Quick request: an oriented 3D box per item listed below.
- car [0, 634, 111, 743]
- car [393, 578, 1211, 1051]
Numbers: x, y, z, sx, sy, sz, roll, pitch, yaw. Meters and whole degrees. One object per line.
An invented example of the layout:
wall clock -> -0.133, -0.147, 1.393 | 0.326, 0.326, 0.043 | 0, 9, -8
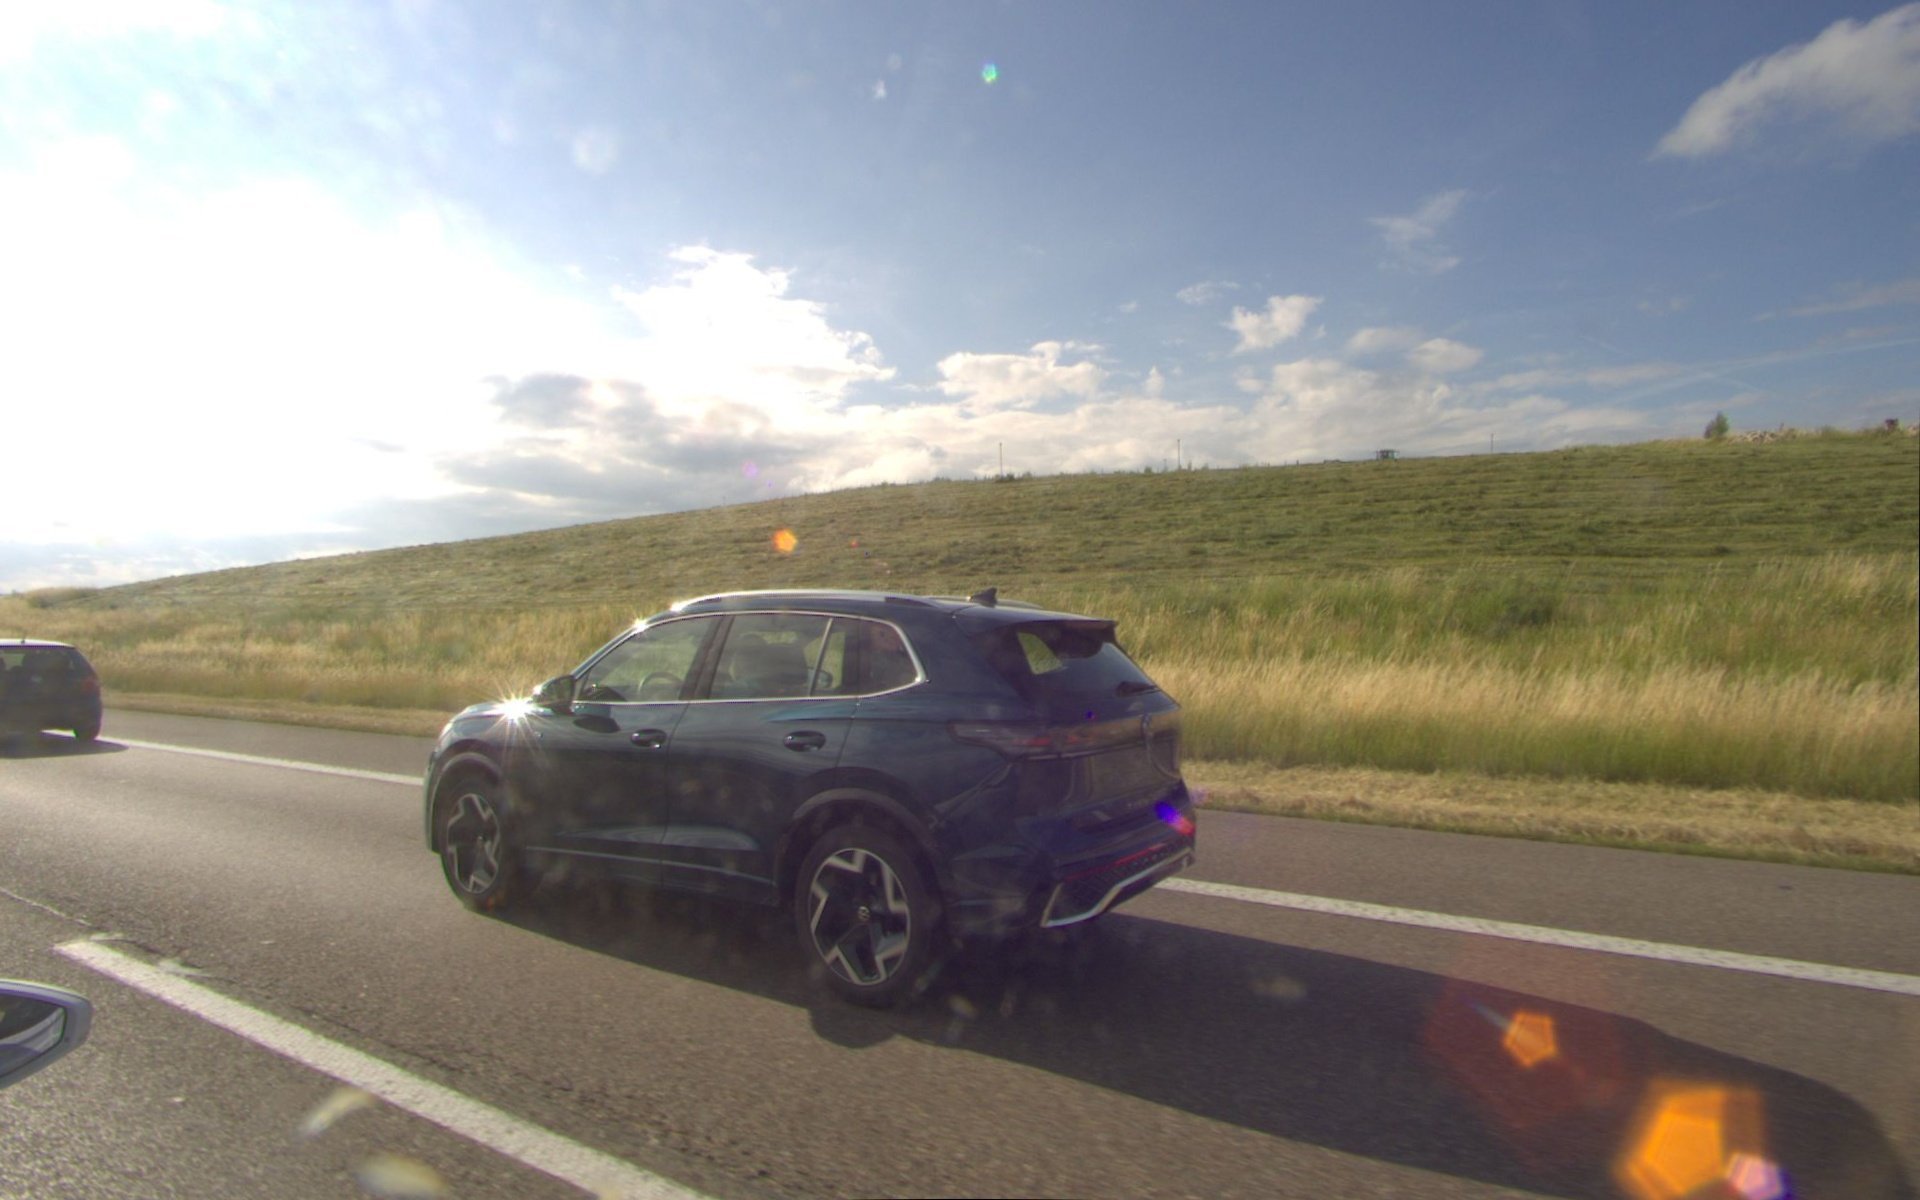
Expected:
car -> -14.022, 1.227, 14.621 | 3.623, 1.438, 1.602 | -2, -2, 35
car -> -0.993, 0.810, 5.346 | 4.175, 1.622, 1.818 | -2, -2, 32
